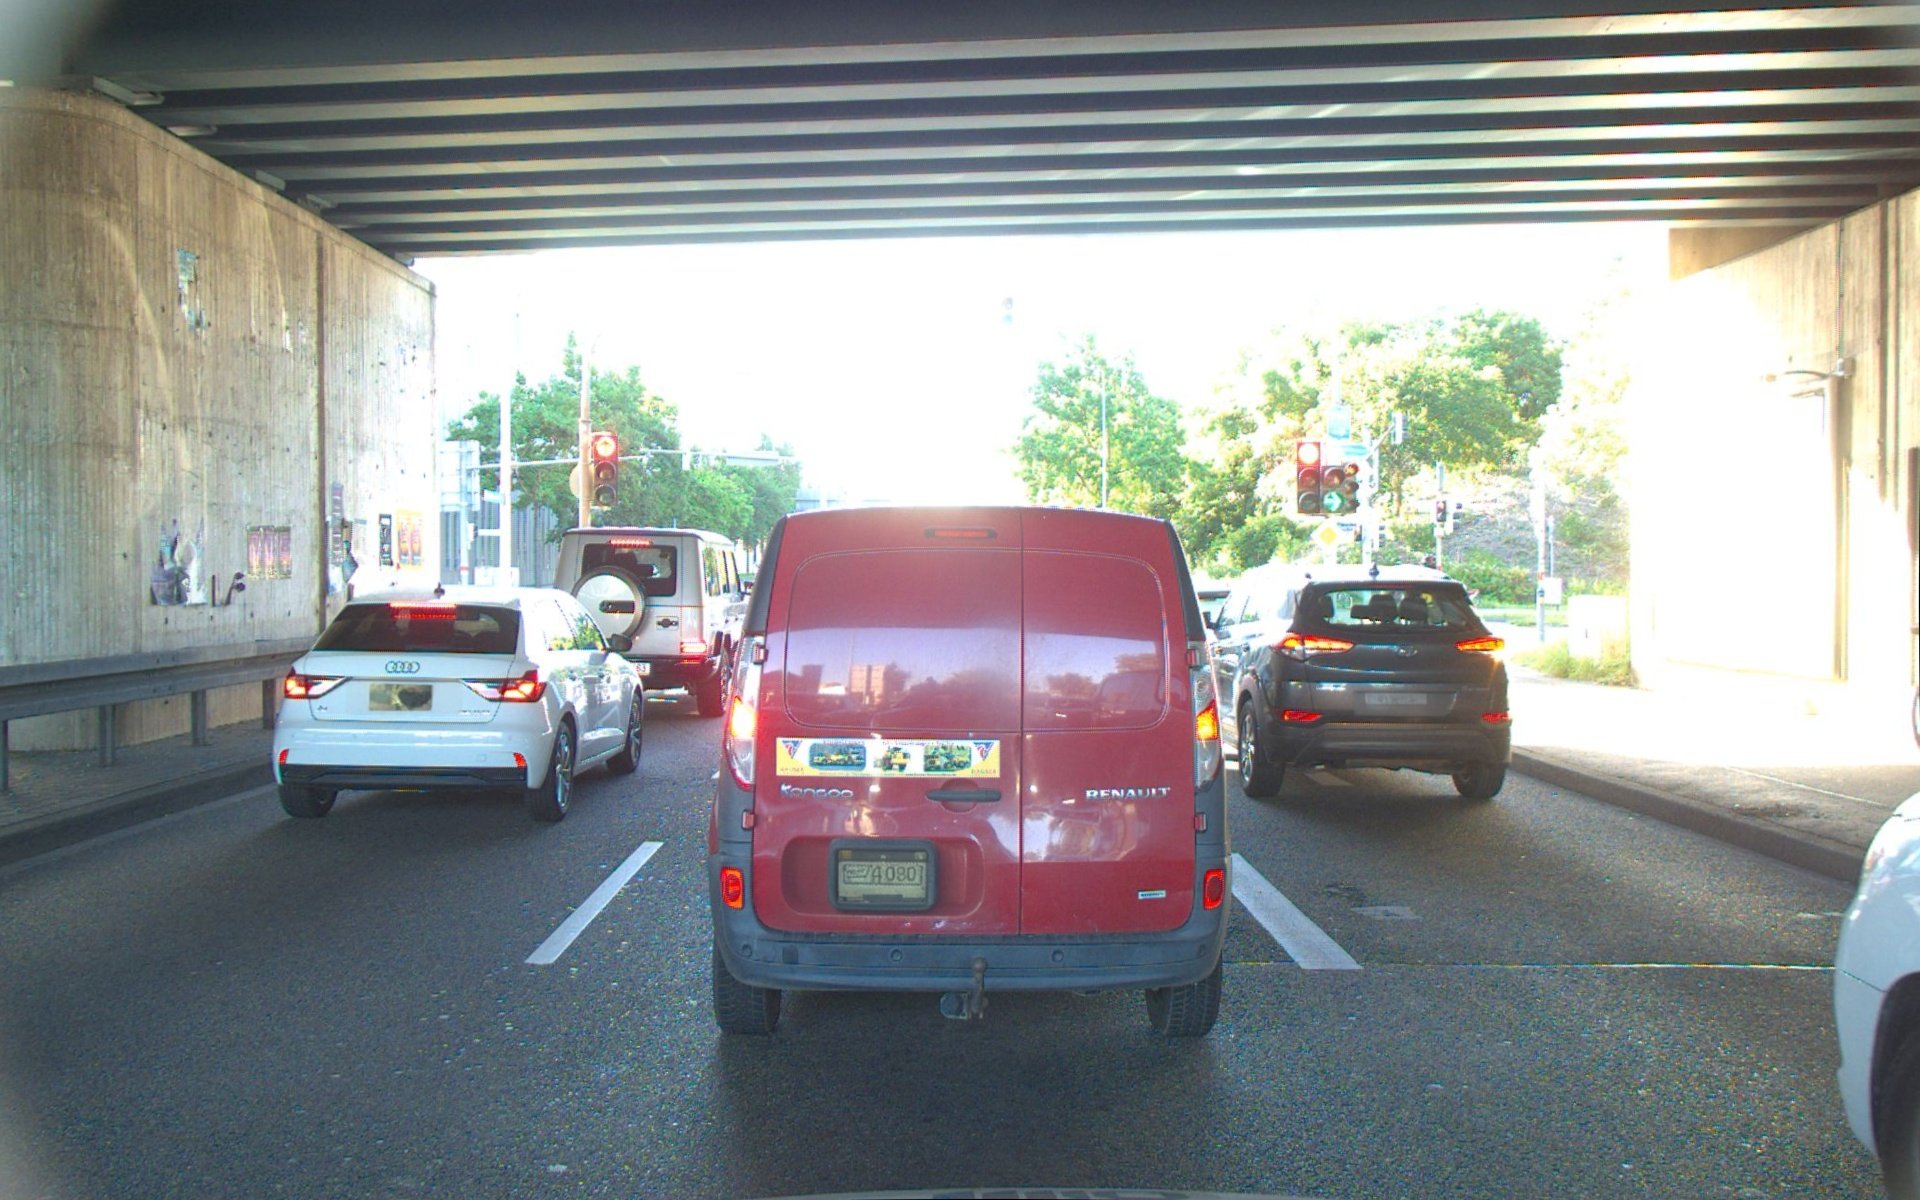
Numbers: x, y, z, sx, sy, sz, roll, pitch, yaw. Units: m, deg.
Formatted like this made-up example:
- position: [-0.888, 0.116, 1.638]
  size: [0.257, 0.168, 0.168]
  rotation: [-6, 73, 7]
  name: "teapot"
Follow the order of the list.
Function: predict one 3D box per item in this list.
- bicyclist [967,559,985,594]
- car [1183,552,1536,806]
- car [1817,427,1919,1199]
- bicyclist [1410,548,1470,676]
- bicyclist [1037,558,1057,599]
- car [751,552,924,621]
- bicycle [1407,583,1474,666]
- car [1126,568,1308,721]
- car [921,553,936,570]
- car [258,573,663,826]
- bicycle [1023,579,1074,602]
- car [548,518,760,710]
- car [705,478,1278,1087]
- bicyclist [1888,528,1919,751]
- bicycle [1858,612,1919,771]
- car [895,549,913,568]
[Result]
- position: [0.609, -0.909, 64.819]
  size: [0.640, 1.352, 0.602]
  rotation: [1, 0, -4]
  name: "bicyclist"
- position: [2.929, 0.505, 13.007]
  size: [1.742, 1.684, 3.989]
  rotation: [0, 1, -1]
  name: "car"
- position: [3.032, 0.609, 1.842]
  size: [1.777, 1.865, 4.299]
  rotation: [1, 1, -2]
  name: "car"
- position: [6.329, 0.158, 21.839]
  size: [0.663, 1.657, 0.644]
  rotation: [1, 0, 10]
  name: "bicyclist"
- position: [3.383, -0.844, 64.042]
  size: [0.739, 1.569, 0.696]
  rotation: [0, 0, 0]
  name: "bicyclist"
- position: [-3.191, -0.330, 42.527]
  size: [4.267, 1.635, 1.996]
  rotation: [1, 0, -10]
  name: "car"
- position: [6.330, 0.319, 21.855]
  size: [0.662, 1.042, 1.530]
  rotation: [1, 0, 10]
  name: "bicycle"
- position: [2.909, 0.432, 19.394]
  size: [1.618, 1.579, 3.865]
  rotation: [1, 1, 2]
  name: "car"
- position: [-4.253, -5.111, 220.663]
  size: [1.953, 2.049, 3.999]
  rotation: [1, 0, -1]
  name: "car"
- position: [-3.221, 0.564, 11.443]
  size: [1.658, 1.434, 3.813]
  rotation: [1, 0, -1]
  name: "car"
- position: [3.423, -0.361, 64.016]
  size: [1.913, 0.889, 0.699]
  rotation: [0, 0, -1]
  name: "bicycle"
- position: [-3.360, 0.134, 18.849]
  size: [1.777, 1.937, 3.812]
  rotation: [1, 0, -2]
  name: "car"
- position: [0.068, 0.534, 6.935]
  size: [1.684, 1.795, 3.999]
  rotation: [1, 0, -1]
  name: "car"
- position: [7.014, 0.264, 11.384]
  size: [0.681, 1.550, 0.909]
  rotation: [-2, 0, -1]
  name: "bicyclist"
- position: [7.028, 0.646, 11.388]
  size: [0.687, 1.076, 1.760]
  rotation: [-2, 1, -1]
  name: "bicycle"
- position: [-6.698, -4.954, 197.563]
  size: [1.953, 2.049, 3.999]
  rotation: [1, 0, -1]
  name: "car"
